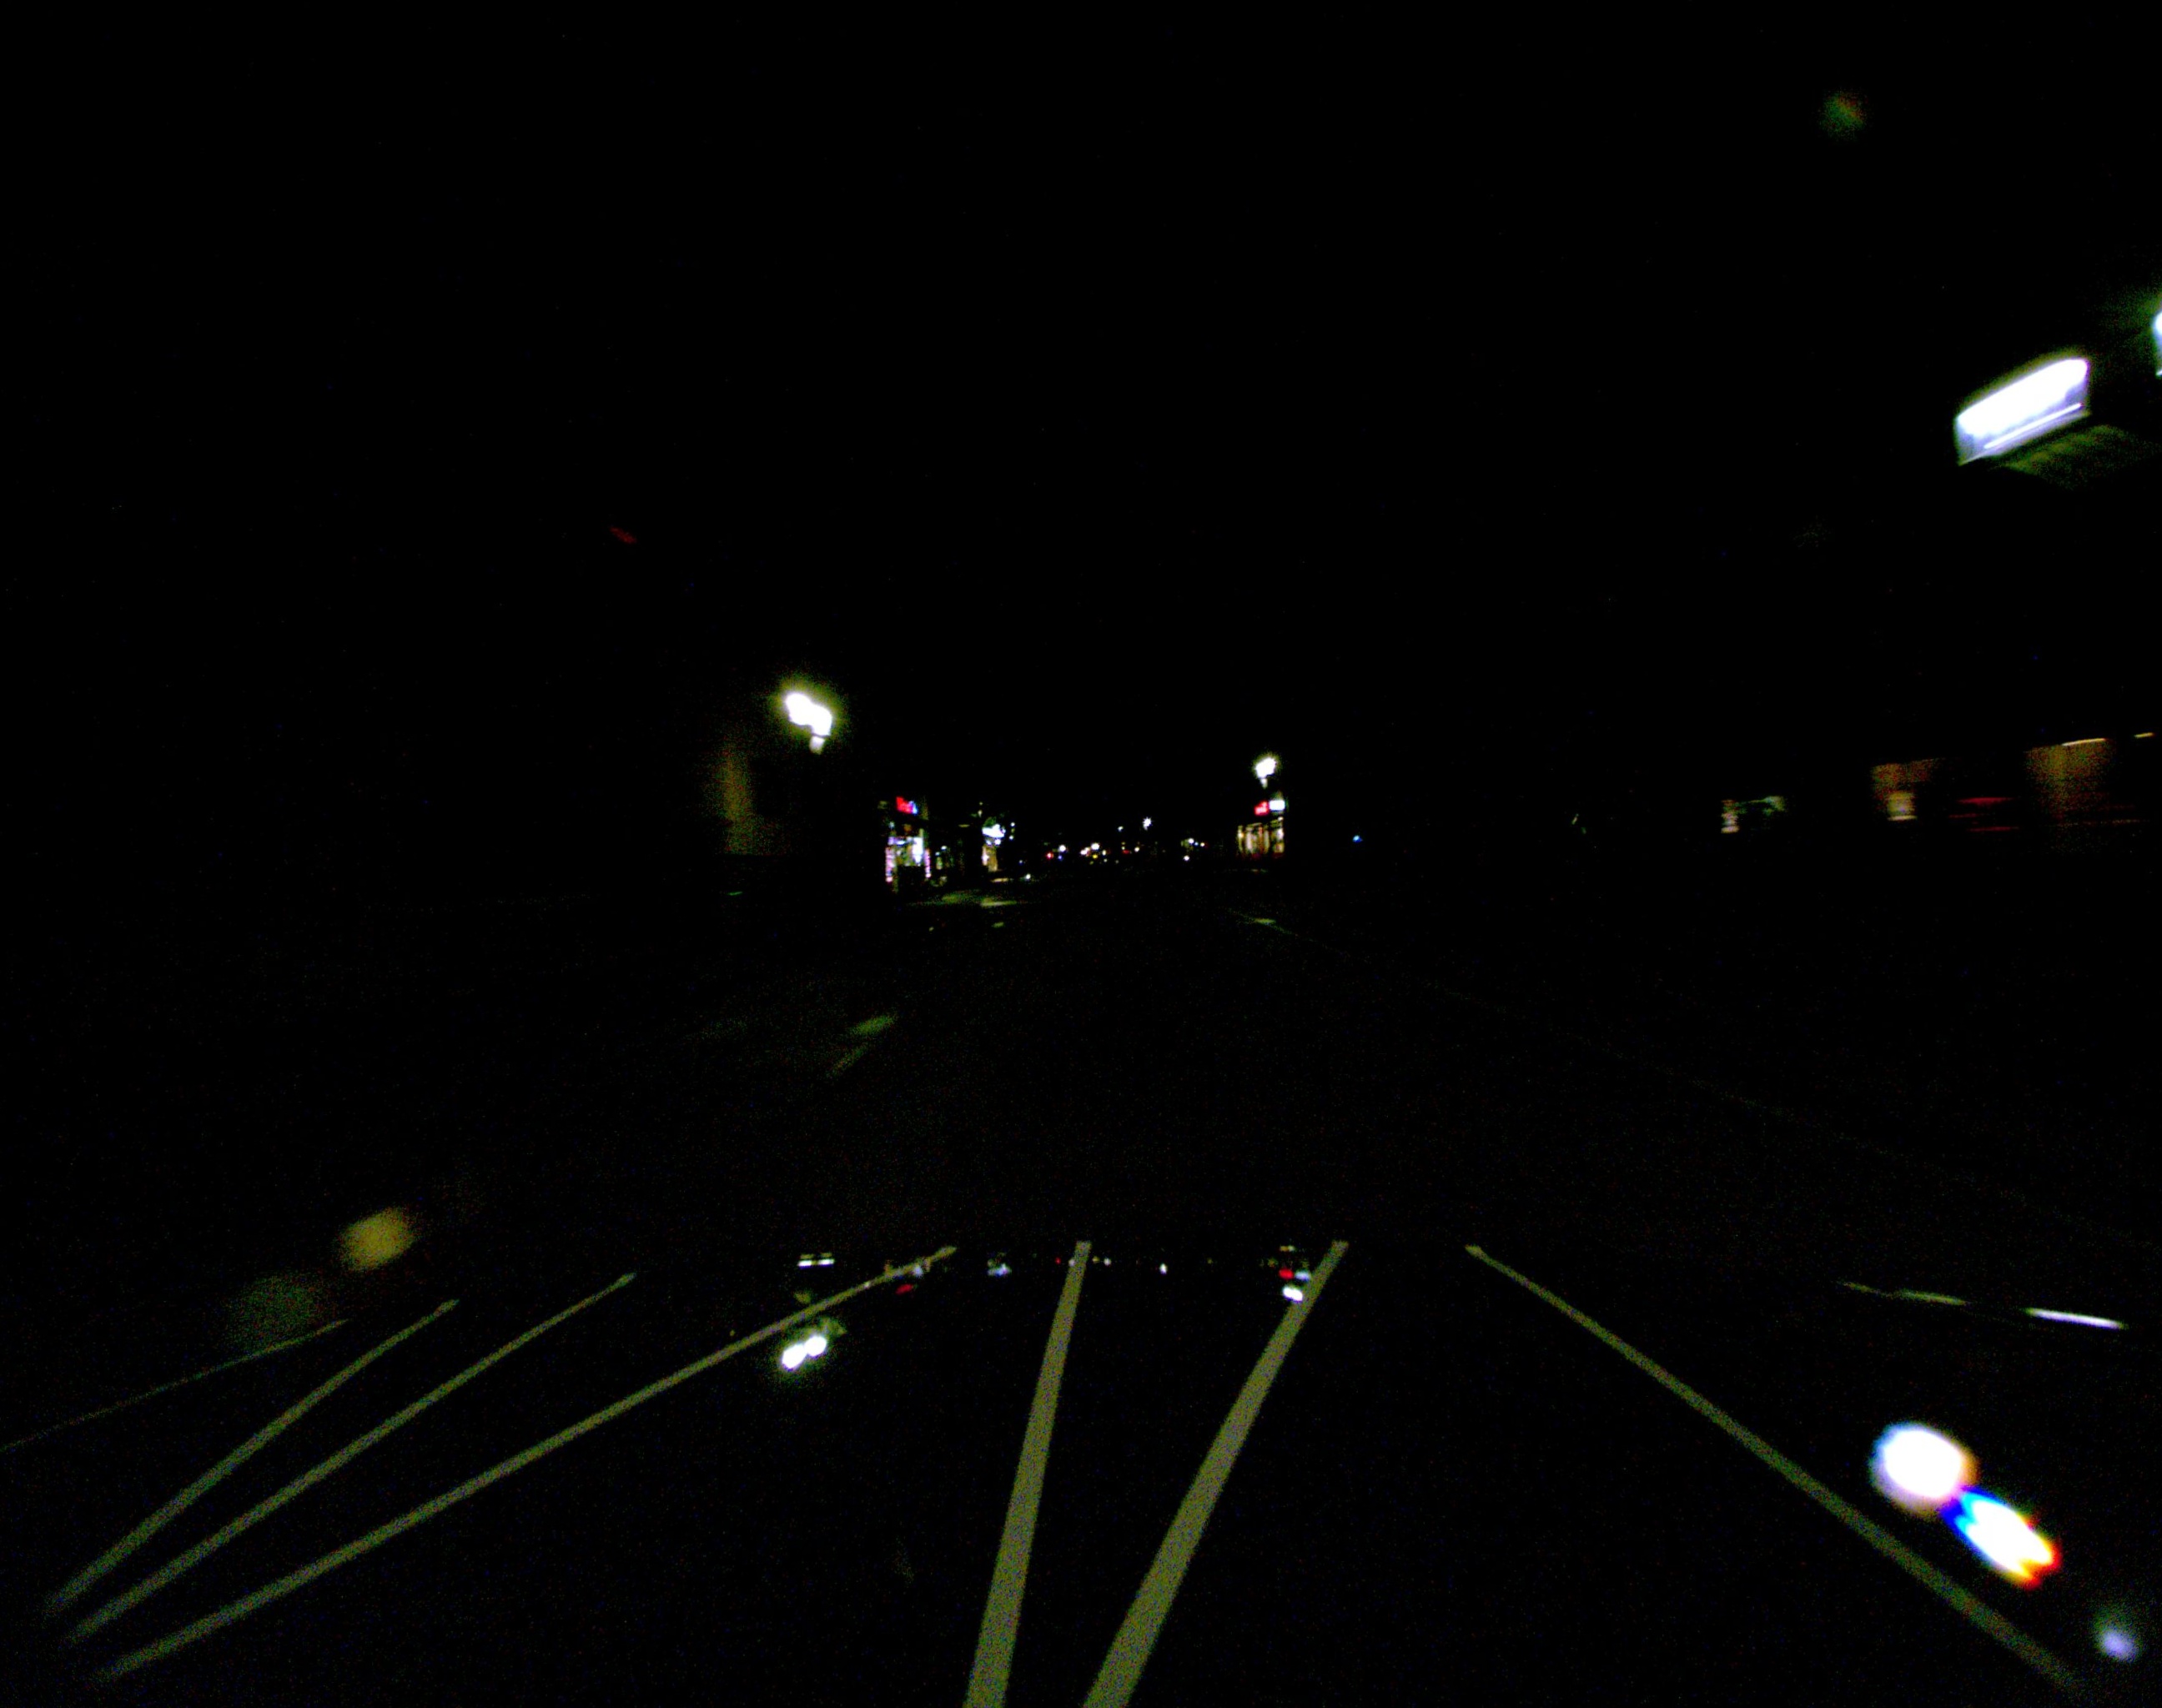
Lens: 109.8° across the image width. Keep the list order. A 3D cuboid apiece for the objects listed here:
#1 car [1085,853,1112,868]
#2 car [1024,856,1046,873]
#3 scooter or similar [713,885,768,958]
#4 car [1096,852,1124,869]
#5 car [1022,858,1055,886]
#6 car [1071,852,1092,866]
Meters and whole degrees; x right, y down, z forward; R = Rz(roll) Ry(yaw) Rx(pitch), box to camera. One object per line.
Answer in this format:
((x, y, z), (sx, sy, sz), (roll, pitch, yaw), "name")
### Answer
((1.883, 0.694, 84.009), (1.911, 1.533, 4.777), (-4, 0, -12), "car")
((-4.477, 0.971, 73.184), (1.747, 1.479, 4.632), (-3, 1, -7), "car")
((-6.578, 1.282, 14.737), (0.374, 1.269, 1.305), (-3, 1, 2), "scooter or similar")
((2.937, 0.634, 78.357), (1.765, 1.628, 4.810), (-3, 0, -11), "car")
((-2.470, 1.005, 43.563), (1.739, 1.432, 4.495), (-3, 0, -4), "car")
((0.048, 0.583, 94.051), (1.776, 1.565, 4.479), (-4, 1, -8), "car")
